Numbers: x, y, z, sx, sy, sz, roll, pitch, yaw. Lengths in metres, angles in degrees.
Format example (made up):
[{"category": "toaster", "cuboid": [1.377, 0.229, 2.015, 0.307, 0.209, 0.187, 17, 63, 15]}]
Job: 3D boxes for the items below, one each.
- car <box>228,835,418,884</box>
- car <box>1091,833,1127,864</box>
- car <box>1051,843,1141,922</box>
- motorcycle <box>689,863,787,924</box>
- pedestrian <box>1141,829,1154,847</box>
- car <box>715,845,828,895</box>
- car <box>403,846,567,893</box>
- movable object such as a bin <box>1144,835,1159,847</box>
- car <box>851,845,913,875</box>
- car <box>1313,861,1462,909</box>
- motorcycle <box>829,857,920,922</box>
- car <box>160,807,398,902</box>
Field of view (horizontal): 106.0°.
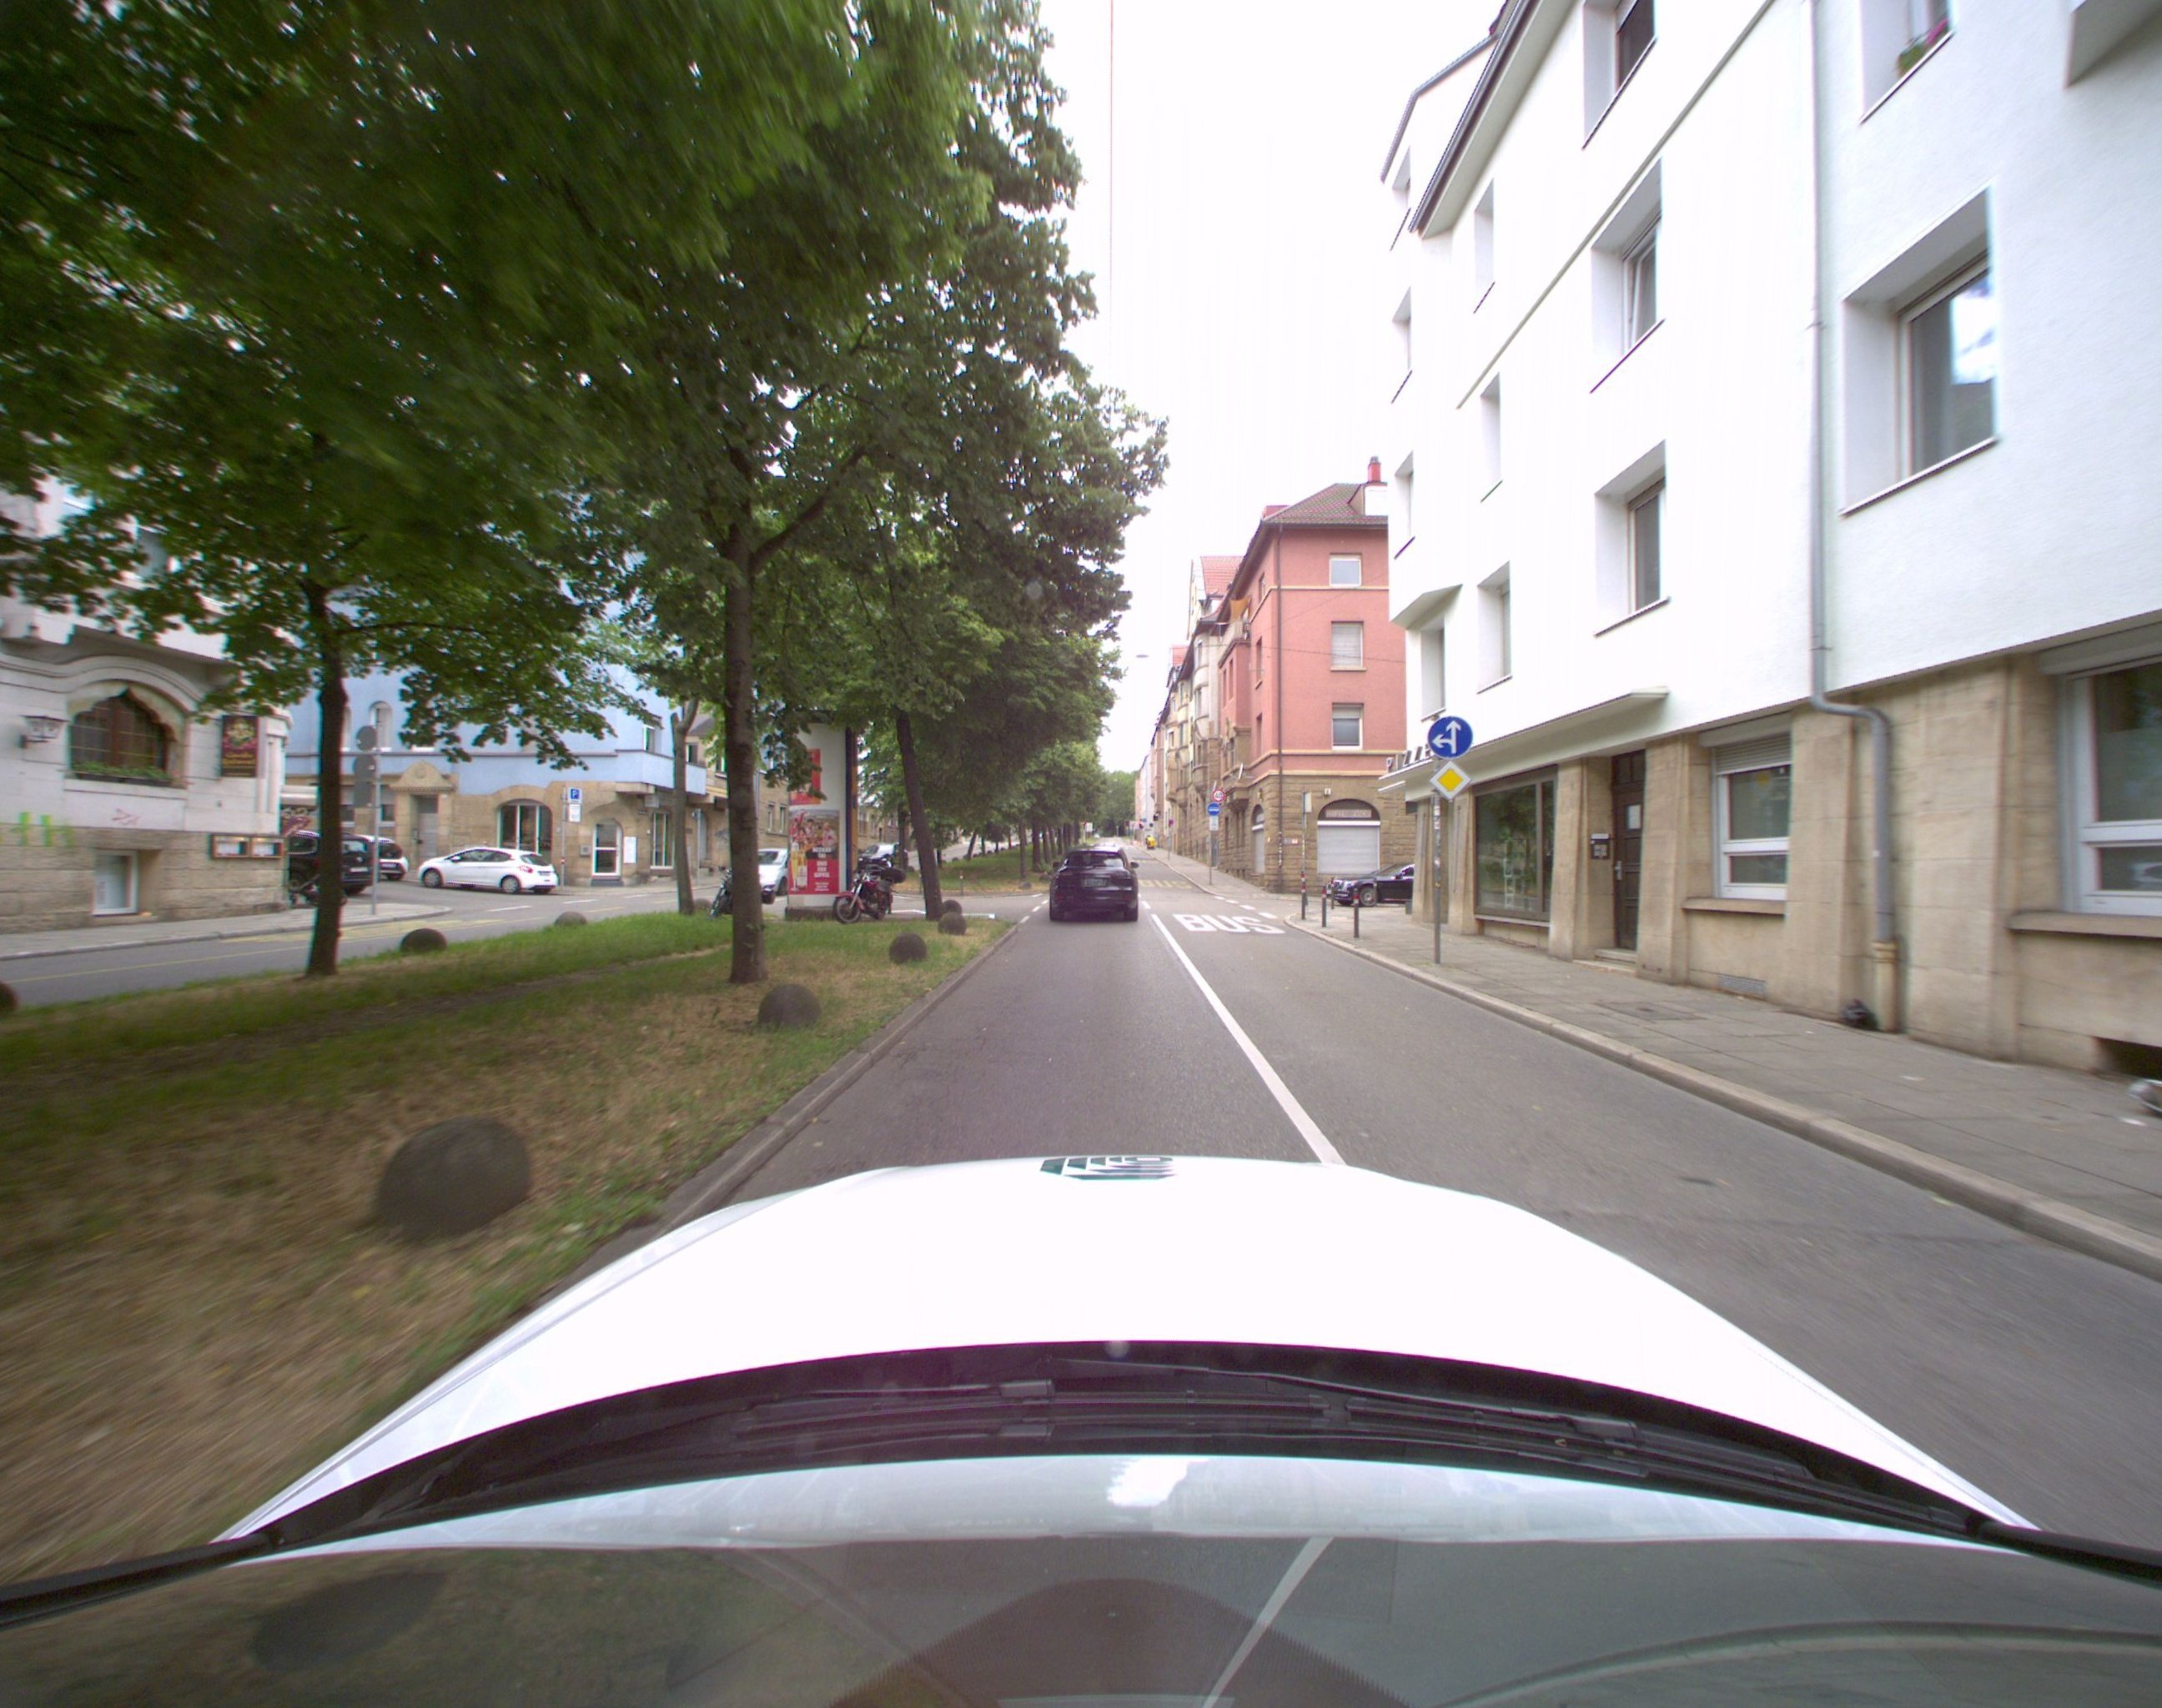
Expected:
[{"category": "car", "cuboid": [-25.422, 0.183, 27.405, 4.775, 1.577, 2.004, 0, 0, 6]}, {"category": "car", "cuboid": [1.599, -0.310, 46.997, 1.986, 1.753, 4.002, 0, 0, 2]}, {"category": "car", "cuboid": [0.327, 0.595, 19.392, 1.897, 1.666, 4.135, 0, 0, 0]}, {"category": "motorcycle", "cuboid": [-6.680, 0.749, 16.022, 0.897, 1.107, 2.252, -1, -1, 2]}, {"category": "pedestrian", "cuboid": [7.621, -1.823, 93.389, 1.301, 2.013, 1.016, 0, 0, -10]}, {"category": "car", "cuboid": [-10.764, 0.497, 28.755, 1.986, 1.624, 4.818, 0, 1, 2]}, {"category": "car", "cuboid": [-19.699, 0.487, 27.053, 3.972, 1.497, 2.001, 0, 0, 1]}, {"category": "movable object such as a bin", "cuboid": [7.909, -1.461, 91.984, 1.237, 1.274, 1.839, 0, 0, -11]}, {"category": "car", "cuboid": [-10.316, 0.253, 42.652, 1.986, 1.483, 4.534, 0, 1, 2]}, {"category": "car", "cuboid": [9.712, 0.947, 25.944, 3.987, 1.376, 1.994, -1, 0, -10]}, {"category": "motorcycle", "cuboid": [-4.016, 0.661, 16.101, 1.058, 1.148, 2.449, -1, 0, 2]}, {"category": "car", "cuboid": [-22.077, -0.014, 22.530, 4.776, 2.052, 2.004, 5, 1, 6]}]
